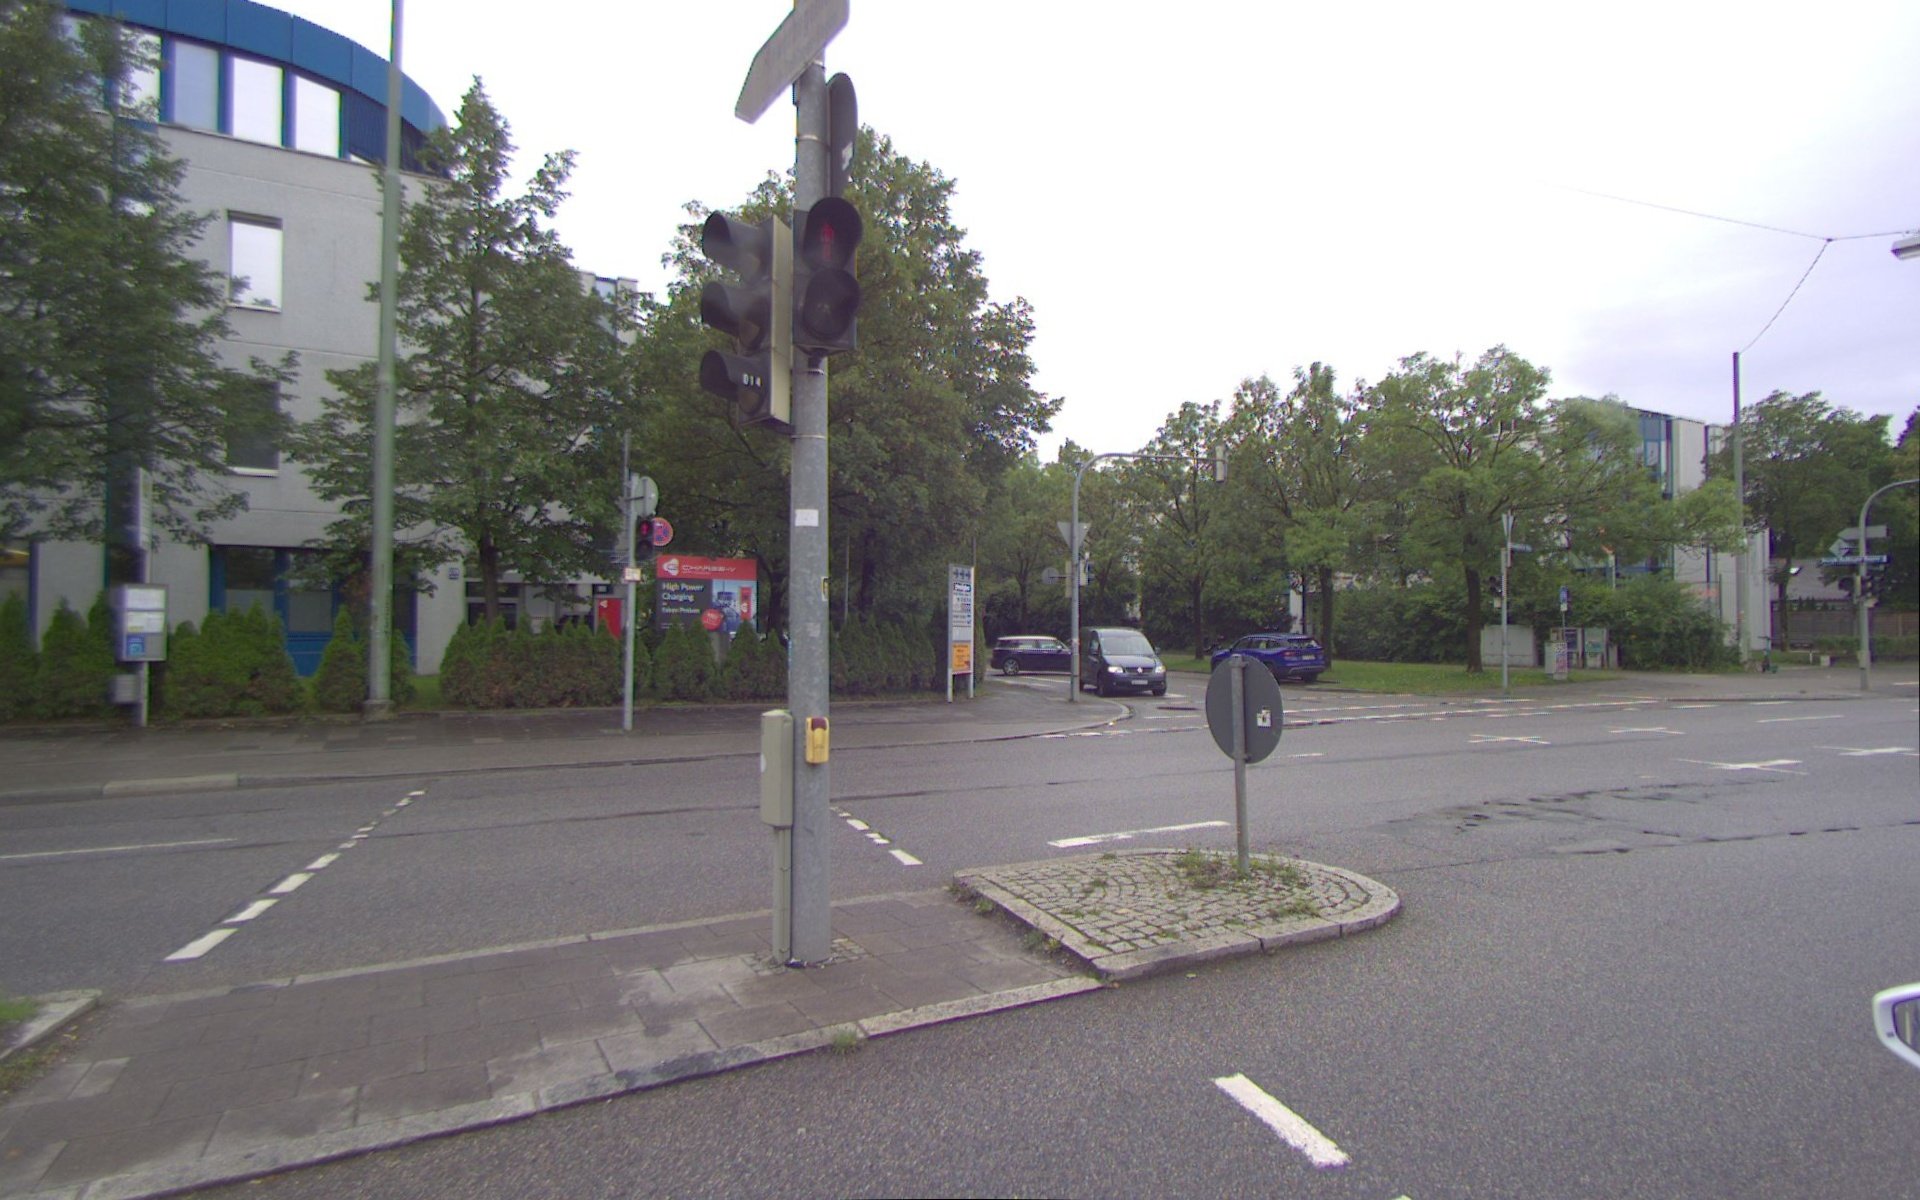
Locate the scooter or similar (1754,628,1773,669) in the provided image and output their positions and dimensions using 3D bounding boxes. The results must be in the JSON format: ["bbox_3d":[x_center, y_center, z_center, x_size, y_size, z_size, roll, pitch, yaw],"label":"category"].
[{"bbox_3d":[28.765,1.716,35.935,1.396,1.443,0.366,1,-1,-45],"label":"scooter or similar"}]

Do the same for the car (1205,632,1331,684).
[{"bbox_3d":[10.494,1.957,34.574,1.969,1.595,4.264,-2,-2,-20],"label":"car"}]

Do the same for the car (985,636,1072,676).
[{"bbox_3d":[2.643,2.111,38.315,3.214,1.462,1.667,0,-2,7],"label":"car"}]

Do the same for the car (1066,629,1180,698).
[{"bbox_3d":[4.424,1.721,28.043,1.962,1.745,4.787,1,-2,-6],"label":"car"}]

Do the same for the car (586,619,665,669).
[{"bbox_3d":[-10.429,1.339,31.590,1.837,1.437,4.167,1,-1,-12],"label":"car"}]

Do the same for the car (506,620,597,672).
[{"bbox_3d":[-12.431,1.352,30.803,1.837,1.437,4.167,1,-1,-12],"label":"car"}]
